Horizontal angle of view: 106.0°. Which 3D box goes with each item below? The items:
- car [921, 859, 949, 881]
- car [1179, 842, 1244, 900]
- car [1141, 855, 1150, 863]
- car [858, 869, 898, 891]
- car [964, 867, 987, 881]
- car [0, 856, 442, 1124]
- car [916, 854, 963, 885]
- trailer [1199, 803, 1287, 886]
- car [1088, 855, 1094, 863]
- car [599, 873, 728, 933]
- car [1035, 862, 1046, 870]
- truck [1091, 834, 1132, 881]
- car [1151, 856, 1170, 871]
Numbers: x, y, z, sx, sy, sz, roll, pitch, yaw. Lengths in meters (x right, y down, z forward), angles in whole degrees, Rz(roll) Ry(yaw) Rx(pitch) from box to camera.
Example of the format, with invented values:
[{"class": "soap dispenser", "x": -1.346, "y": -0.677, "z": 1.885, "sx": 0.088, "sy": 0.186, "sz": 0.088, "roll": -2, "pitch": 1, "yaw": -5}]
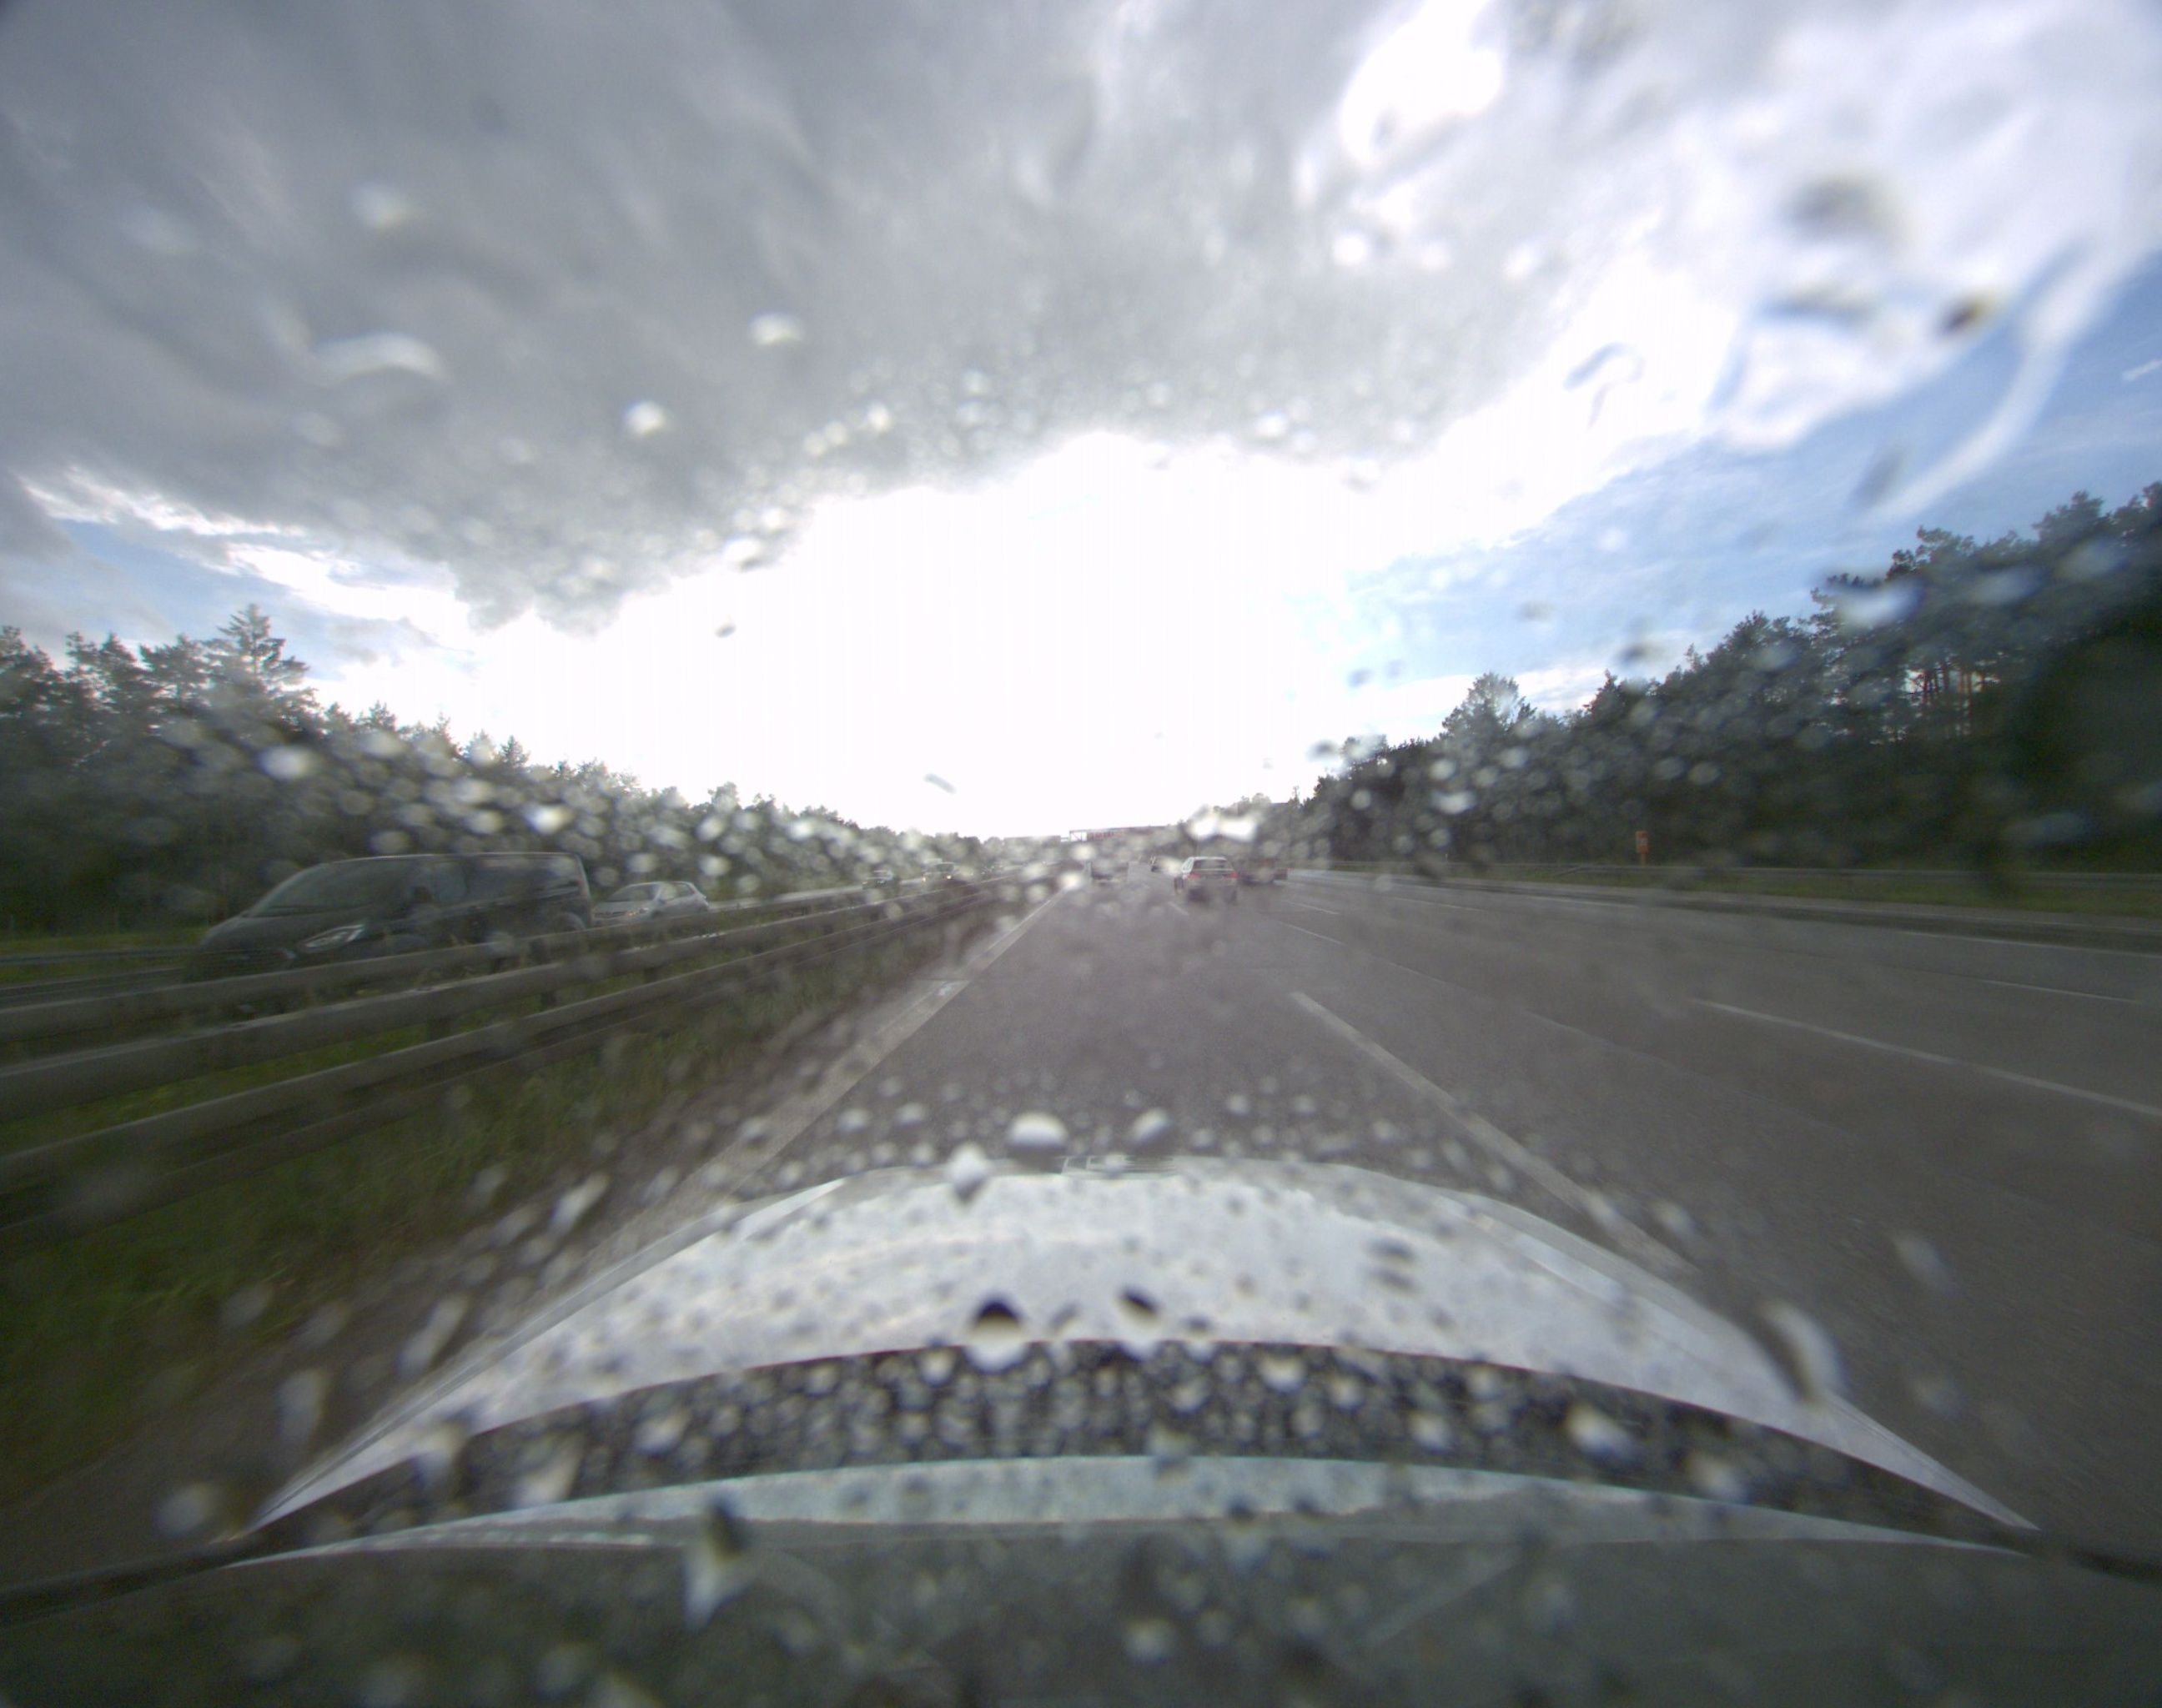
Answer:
[{"class": "car", "x": -18.476, "y": 1.946, "z": 103.130, "sx": 2.091, "sy": 2.510, "sz": 6.586, "roll": -4, "pitch": 0, "yaw": 1}, {"class": "car", "x": 4.596, "y": 0.561, "z": 29.201, "sx": 2.066, "sy": 1.885, "sz": 5.021, "roll": -1, "pitch": 0, "yaw": 7}, {"class": "car", "x": 14.038, "y": 1.085, "z": 178.120, "sx": 1.735, "sy": 1.688, "sz": 3.999, "roll": -1, "pitch": 0, "yaw": 0}, {"class": "car", "x": -15.404, "y": 1.967, "z": 61.995, "sx": 1.692, "sy": 1.358, "sz": 4.259, "roll": -6, "pitch": 0, "yaw": 1}, {"class": "car", "x": -11.544, "y": 2.145, "z": 89.158, "sx": 1.691, "sy": 1.325, "sz": 4.669, "roll": -3, "pitch": 0, "yaw": 1}, {"class": "car", "x": -9.091, "y": 1.074, "z": 7.892, "sx": 1.986, "sy": 2.013, "sz": 4.628, "roll": -2, "pitch": 0, "yaw": 2}, {"class": "car", "x": -7.858, "y": 0.825, "z": 45.495, "sx": 1.764, "sy": 1.539, "sz": 4.001, "roll": -2, "pitch": 0, "yaw": 1}, {"class": "trailer", "x": 8.936, "y": -0.446, "z": 46.771, "sx": 2.316, "sy": 4.001, "sz": 13.410, "roll": -1, "pitch": 0, "yaw": 0}, {"class": "car", "x": 2.584, "y": 1.213, "z": 213.782, "sx": 1.612, "sy": 2.013, "sz": 3.999, "roll": 0, "pitch": 0, "yaw": 0}, {"class": "car", "x": -12.456, "y": 1.405, "z": 24.621, "sx": 1.692, "sy": 1.488, "sz": 4.001, "roll": -2, "pitch": 0, "yaw": 1}, {"class": "car", "x": -7.993, "y": 2.426, "z": 160.617, "sx": 1.869, "sy": 1.431, "sz": 3.999, "roll": -2, "pitch": 0, "yaw": -1}, {"class": "truck", "x": 1.776, "y": 0.186, "z": 46.809, "sx": 2.129, "sy": 2.489, "sz": 5.316, "roll": -1, "pitch": 0, "yaw": 3}, {"class": "car", "x": 8.032, "y": 0.943, "z": 82.451, "sx": 1.822, "sy": 1.466, "sz": 4.005, "roll": -1, "pitch": 0, "yaw": 4}]
